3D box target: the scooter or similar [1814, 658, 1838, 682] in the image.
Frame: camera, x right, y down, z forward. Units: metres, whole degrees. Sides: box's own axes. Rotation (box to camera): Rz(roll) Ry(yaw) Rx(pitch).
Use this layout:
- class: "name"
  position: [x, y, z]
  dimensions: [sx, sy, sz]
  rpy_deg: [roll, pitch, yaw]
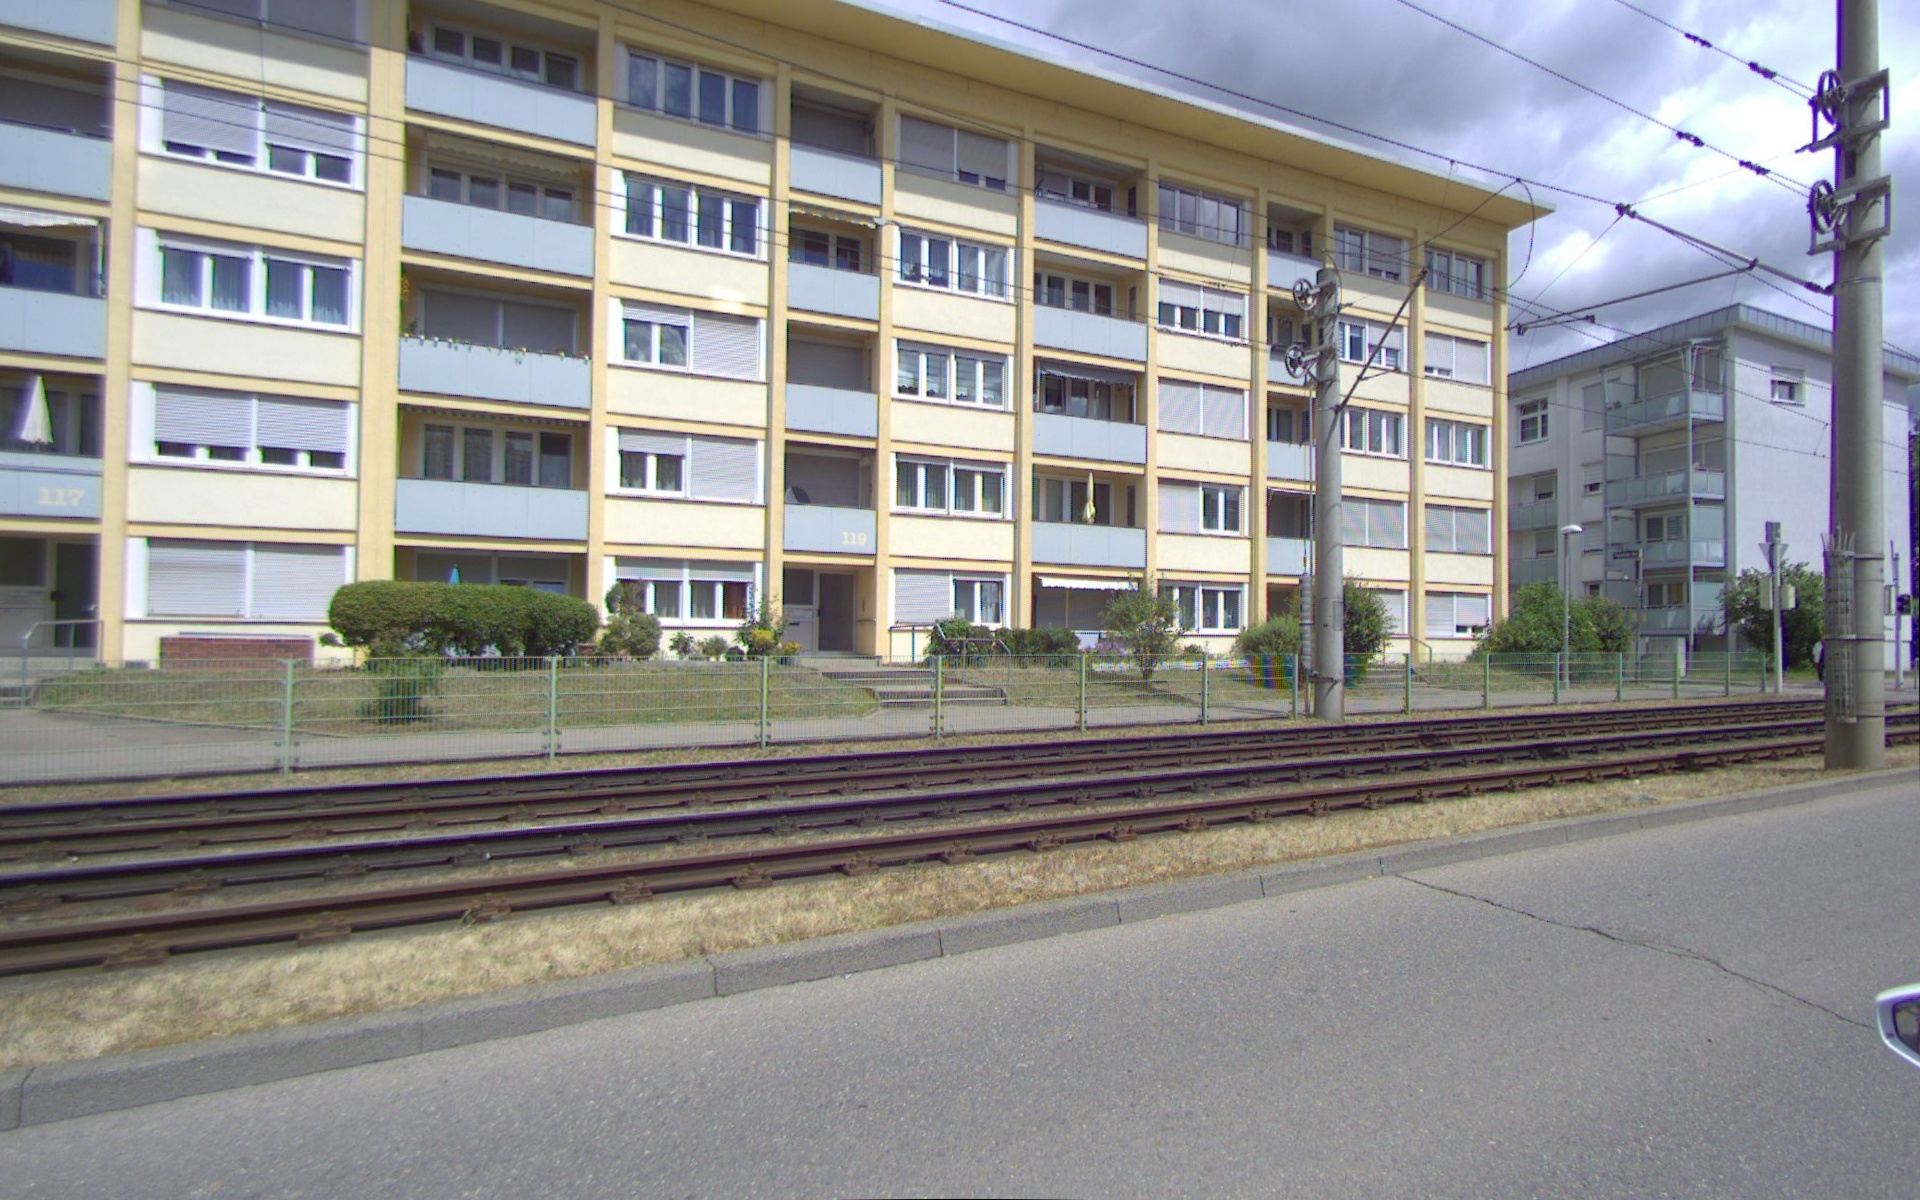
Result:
- class: "scooter or similar"
  position: [27.645, 2.232, 32.061]
  dimensions: [0.468, 0.757, 0.436]
  rpy_deg: [1, -1, -25]

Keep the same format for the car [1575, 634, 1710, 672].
- class: "car"
  position: [26.182, 2.012, 38.674]
  dimensions: [1.873, 1.363, 3.980]
  rpy_deg: [1, -2, -21]

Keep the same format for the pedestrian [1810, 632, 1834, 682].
- class: "pedestrian"
  position: [27.813, 1.823, 32.417]
  dimensions: [0.468, 1.601, 0.436]
  rpy_deg: [1, -1, -25]
